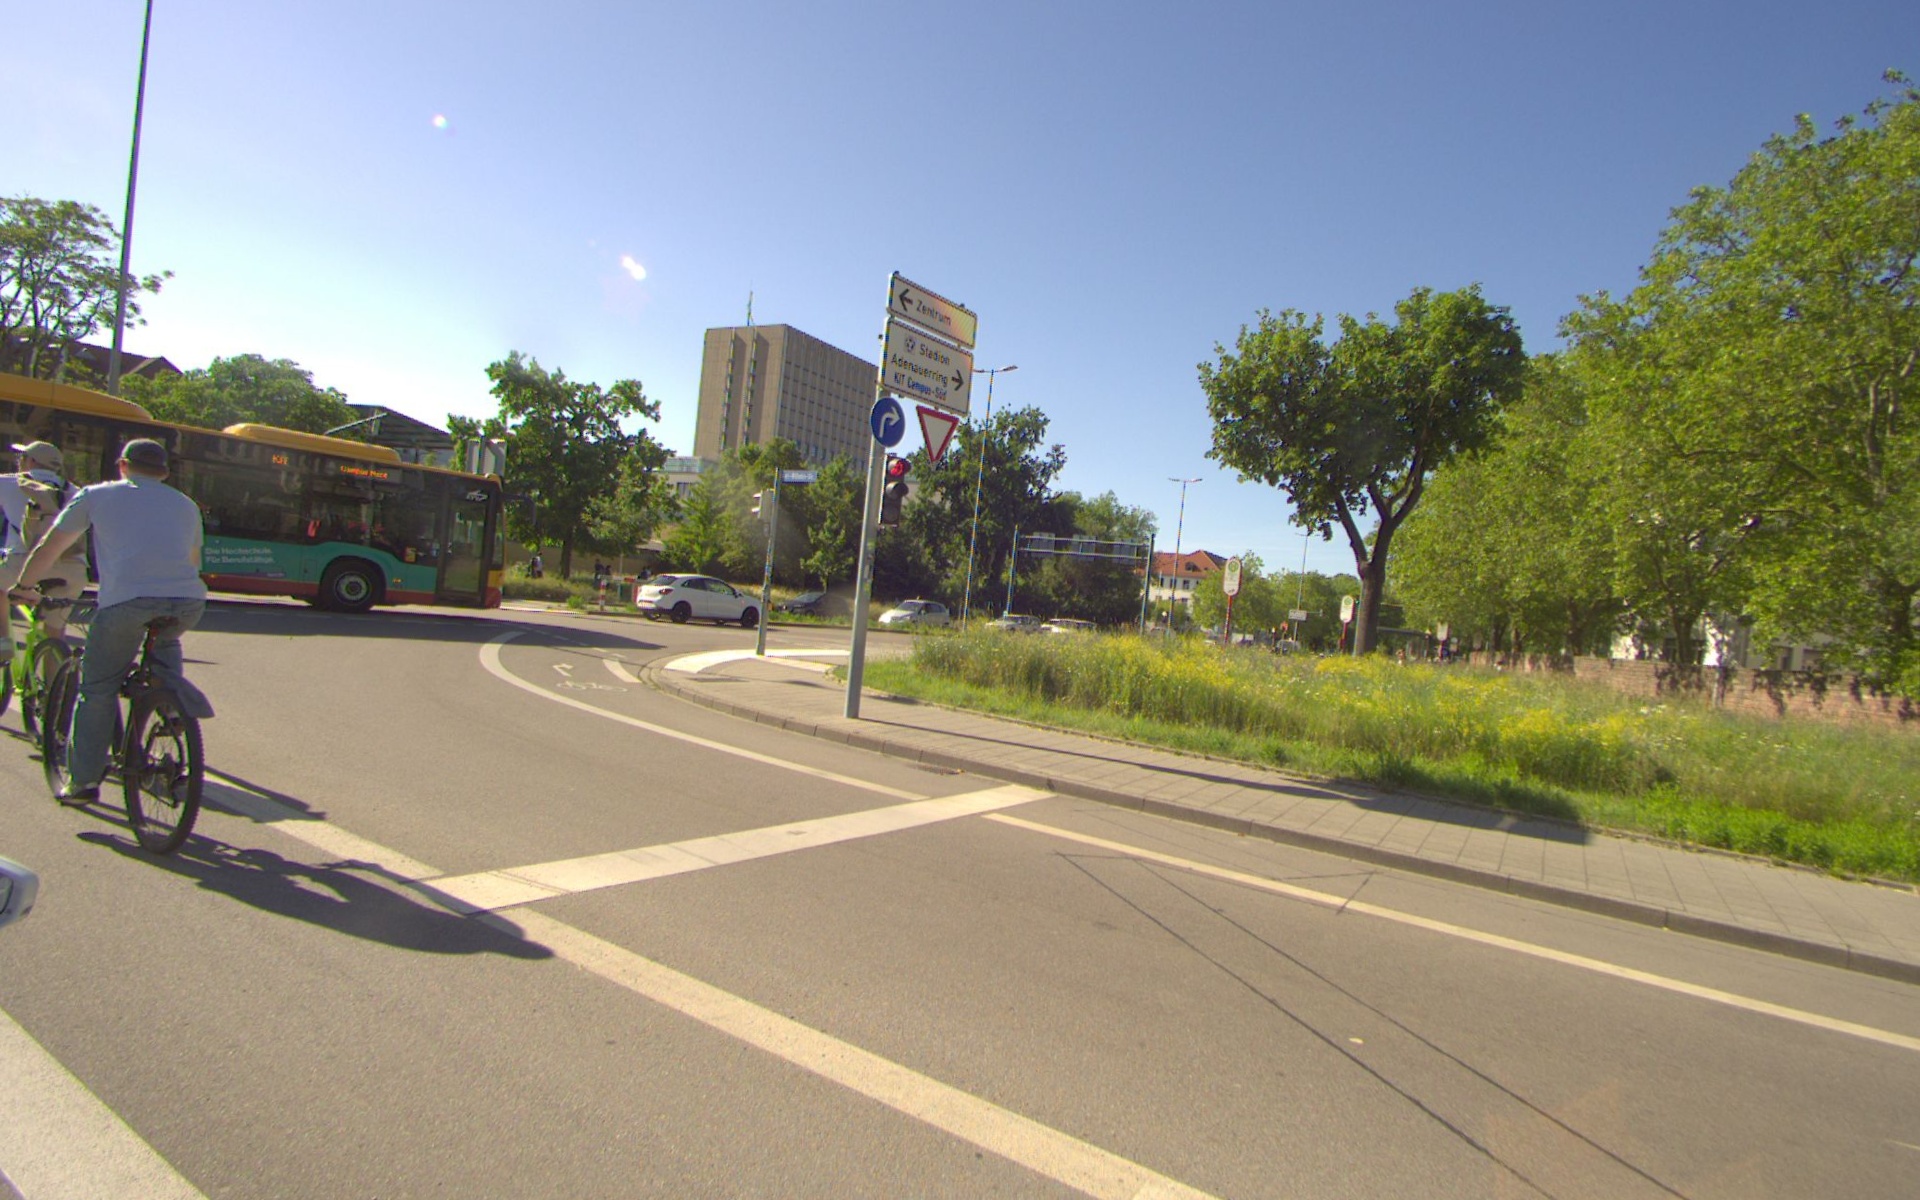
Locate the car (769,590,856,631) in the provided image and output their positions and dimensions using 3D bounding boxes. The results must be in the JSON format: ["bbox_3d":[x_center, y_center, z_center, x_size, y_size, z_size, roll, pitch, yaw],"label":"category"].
[{"bbox_3d":[-7.161,0.527,49.139,1.808,1.590,3.985,7,0,37],"label":"car"}]

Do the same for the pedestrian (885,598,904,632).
[{"bbox_3d":[-4.384,1.008,67.355,0.633,2.194,0.912,7,1,35],"label":"pedestrian"}]

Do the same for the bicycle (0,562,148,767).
[{"bbox_3d":[-5.926,0.338,6.261,1.813,1.063,0.672,6,-1,31],"label":"bicycle"}]

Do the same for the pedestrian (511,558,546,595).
[{"bbox_3d":[-19.837,-1.068,46.291,0.865,1.540,1.074,7,1,36],"label":"pedestrian"}]

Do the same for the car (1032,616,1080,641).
[{"bbox_3d":[7.235,2.162,75.302,1.783,1.509,3.956,4,-2,35],"label":"car"}]

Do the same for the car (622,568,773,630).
[{"bbox_3d":[-7.756,0.005,29.979,1.734,1.390,3.982,7,0,40],"label":"car"}]

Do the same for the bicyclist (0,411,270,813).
[{"bbox_3d":[-3.965,0.035,4.756,0.851,1.695,0.741,7,1,30],"label":"bicyclist"}]

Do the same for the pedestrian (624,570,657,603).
[{"bbox_3d":[-16.528,-0.710,52.046,0.975,1.540,1.129,7,1,35],"label":"pedestrian"}]

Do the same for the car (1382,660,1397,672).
[{"bbox_3d":[76.963,11.765,180.201,1.966,1.786,3.996,6,-2,30],"label":"car"}]

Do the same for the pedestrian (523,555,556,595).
[{"bbox_3d":[-19.887,-1.190,47.600,0.912,1.754,0.962,7,1,39],"label":"pedestrian"}]

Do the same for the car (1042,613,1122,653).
[{"bbox_3d":[5.512,1.517,45.159,1.864,1.419,3.846,3,-4,36],"label":"car"}]

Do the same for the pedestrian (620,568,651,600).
[{"bbox_3d":[-16.934,-0.818,52.465,0.865,1.540,1.144,7,1,35],"label":"pedestrian"}]

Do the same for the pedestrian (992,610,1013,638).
[{"bbox_3d":[3.482,1.994,82.498,1.065,2.106,1.231,7,1,35],"label":"pedestrian"}]

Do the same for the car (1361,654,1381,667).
[{"bbox_3d":[61.525,9.071,150.597,1.892,1.625,4.072,7,0,35],"label":"car"}]

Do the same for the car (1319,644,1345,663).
[{"bbox_3d":[47.385,6.792,127.937,1.967,2.062,4.837,7,0,32],"label":"car"}]

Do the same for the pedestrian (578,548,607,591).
[{"bbox_3d":[-18.783,-1.558,51.385,0.800,2.106,0.896,7,1,35],"label":"pedestrian"}]

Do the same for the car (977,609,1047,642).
[{"bbox_3d":[3.364,1.664,64.224,1.909,1.613,4.860,7,0,38],"label":"car"}]

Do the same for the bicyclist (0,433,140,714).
[{"bbox_3d":[-5.837,-0.171,6.250,1.063,1.601,0.675,7,-1,31],"label":"bicyclist"}]

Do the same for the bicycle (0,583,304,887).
[{"bbox_3d":[-4.052,0.542,4.777,1.871,1.064,0.748,6,1,30],"label":"bicycle"}]

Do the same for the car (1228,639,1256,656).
[{"bbox_3d":[31.384,5.273,111.866,1.890,1.625,4.077,7,0,29],"label":"car"}]

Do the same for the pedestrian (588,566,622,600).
[{"bbox_3d":[-17.916,-0.874,50.752,0.927,1.540,1.145,7,1,38],"label":"pedestrian"}]

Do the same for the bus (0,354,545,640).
[{"bbox_3d":[-13.839,-1.685,16.654,3.208,3.614,12.389,7,0,45],"label":"bus"}]

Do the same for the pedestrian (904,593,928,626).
[{"bbox_3d":[-3.066,0.670,70.625,0.966,2.106,1.186,7,1,35],"label":"pedestrian"}]

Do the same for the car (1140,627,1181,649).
[{"bbox_3d":[18.457,3.505,92.601,1.968,1.625,4.505,7,0,34],"label":"car"}]

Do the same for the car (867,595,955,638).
[{"bbox_3d":[-2.286,0.829,47.913,1.882,1.625,4.124,7,0,37],"label":"car"}]

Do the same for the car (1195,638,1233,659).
[{"bbox_3d":[23.805,4.548,94.244,1.968,1.625,4.127,7,0,35],"label":"car"}]
